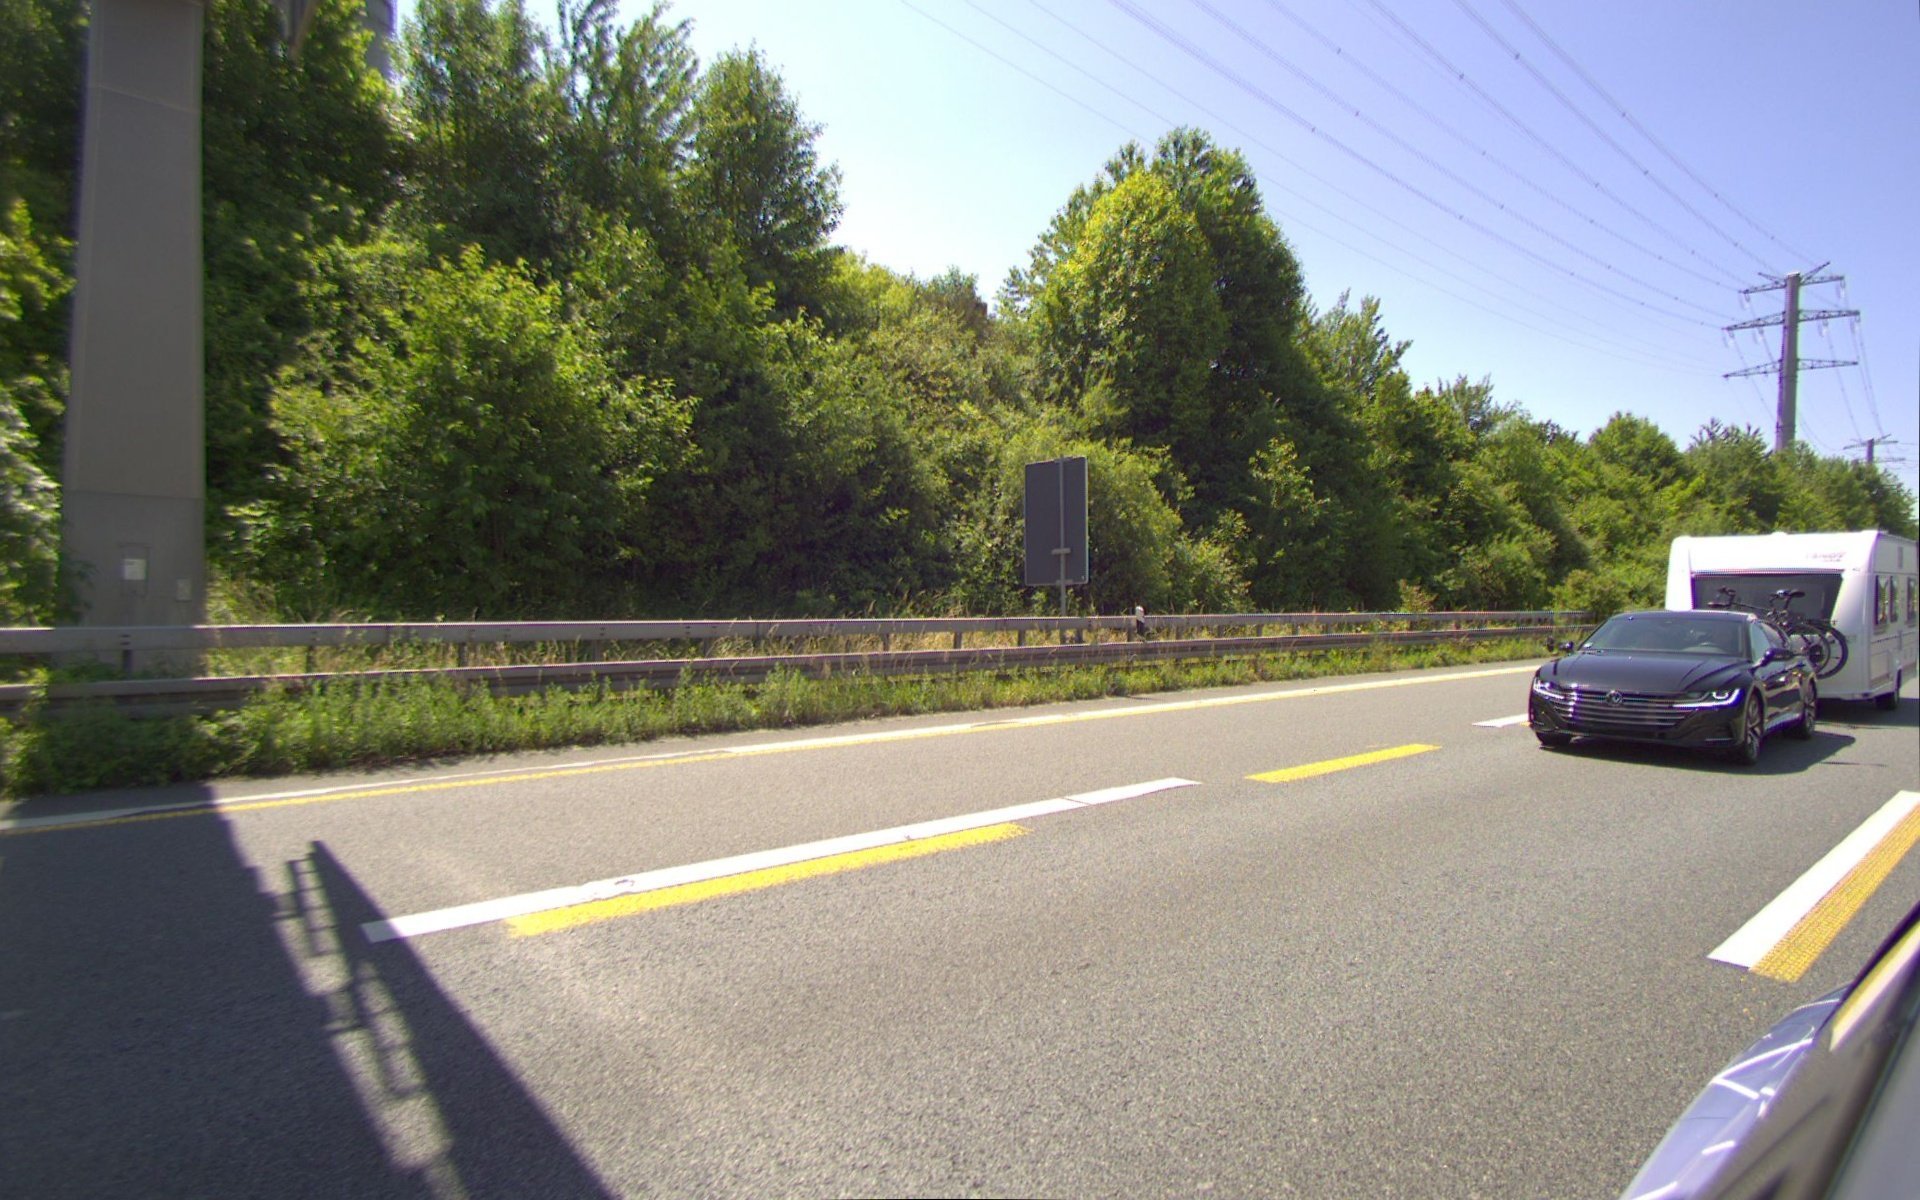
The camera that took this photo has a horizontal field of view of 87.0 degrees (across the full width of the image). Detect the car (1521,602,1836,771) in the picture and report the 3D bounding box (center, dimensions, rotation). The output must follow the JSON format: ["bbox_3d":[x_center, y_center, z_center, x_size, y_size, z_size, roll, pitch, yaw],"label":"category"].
[{"bbox_3d":[7.717,0.749,10.724,4.136,1.425,1.799,0,0,-41],"label":"car"}]

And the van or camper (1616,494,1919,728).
[{"bbox_3d":[12.389,0.120,14.876,8.270,2.597,2.430,0,0,-41],"label":"van or camper"}]
